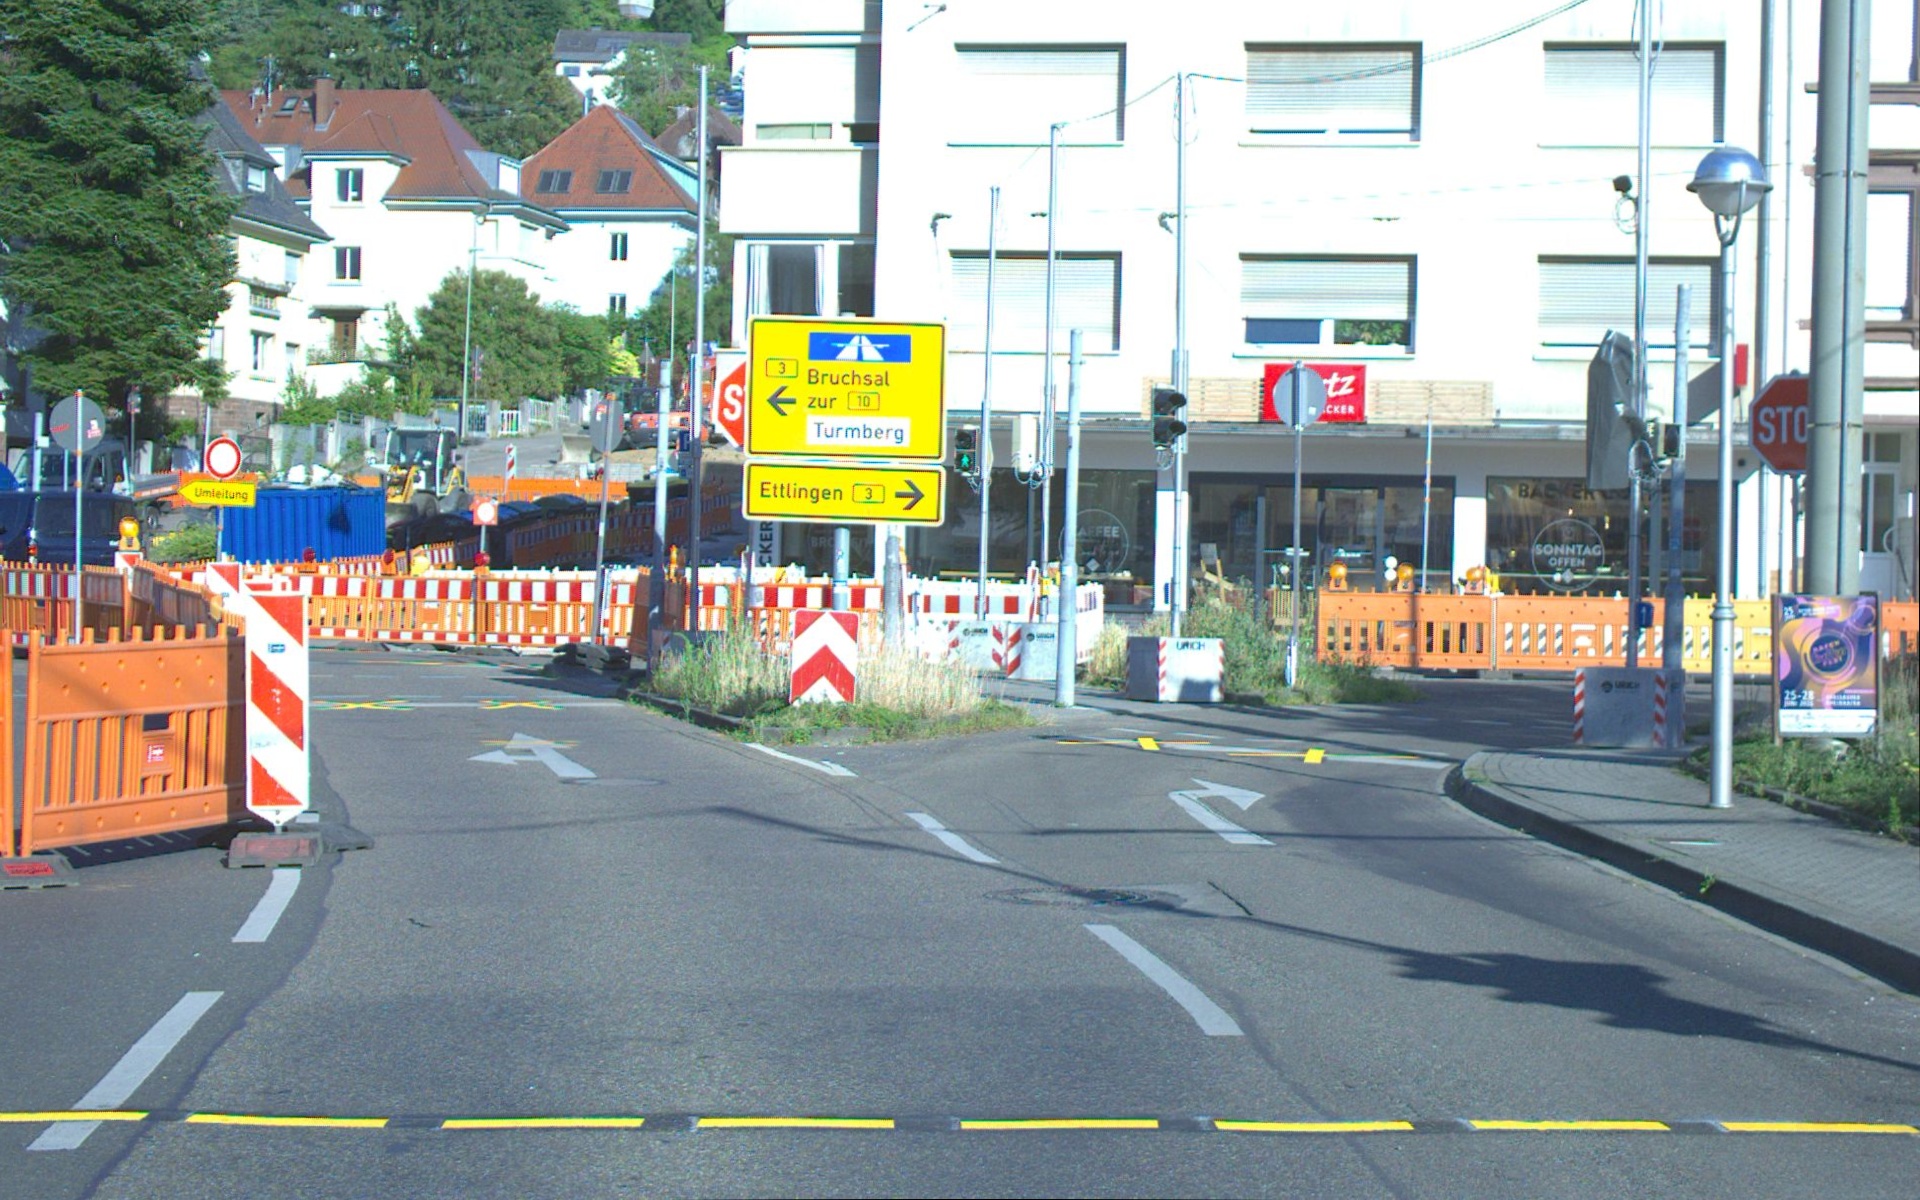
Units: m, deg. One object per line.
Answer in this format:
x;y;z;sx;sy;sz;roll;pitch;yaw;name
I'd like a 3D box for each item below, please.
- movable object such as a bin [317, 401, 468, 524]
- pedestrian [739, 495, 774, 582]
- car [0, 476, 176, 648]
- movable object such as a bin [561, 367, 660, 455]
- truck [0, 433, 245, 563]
-13.038;-3.136;79.209;2.191;2.681;3.998;1;1;10;movable object such as a bin
-4.185;-1.259;70.630;0.640;1.754;0.718;1;1;-1;pedestrian
-12.403;-0.556;44.988;2.062;2.006;4.999;1;3;-40;car
-11.535;-6.228;113.745;2.191;2.681;3.998;1;1;10;movable object such as a bin
-17.212;-1.966;68.651;2.357;2.407;9.147;1;1;11;truck
